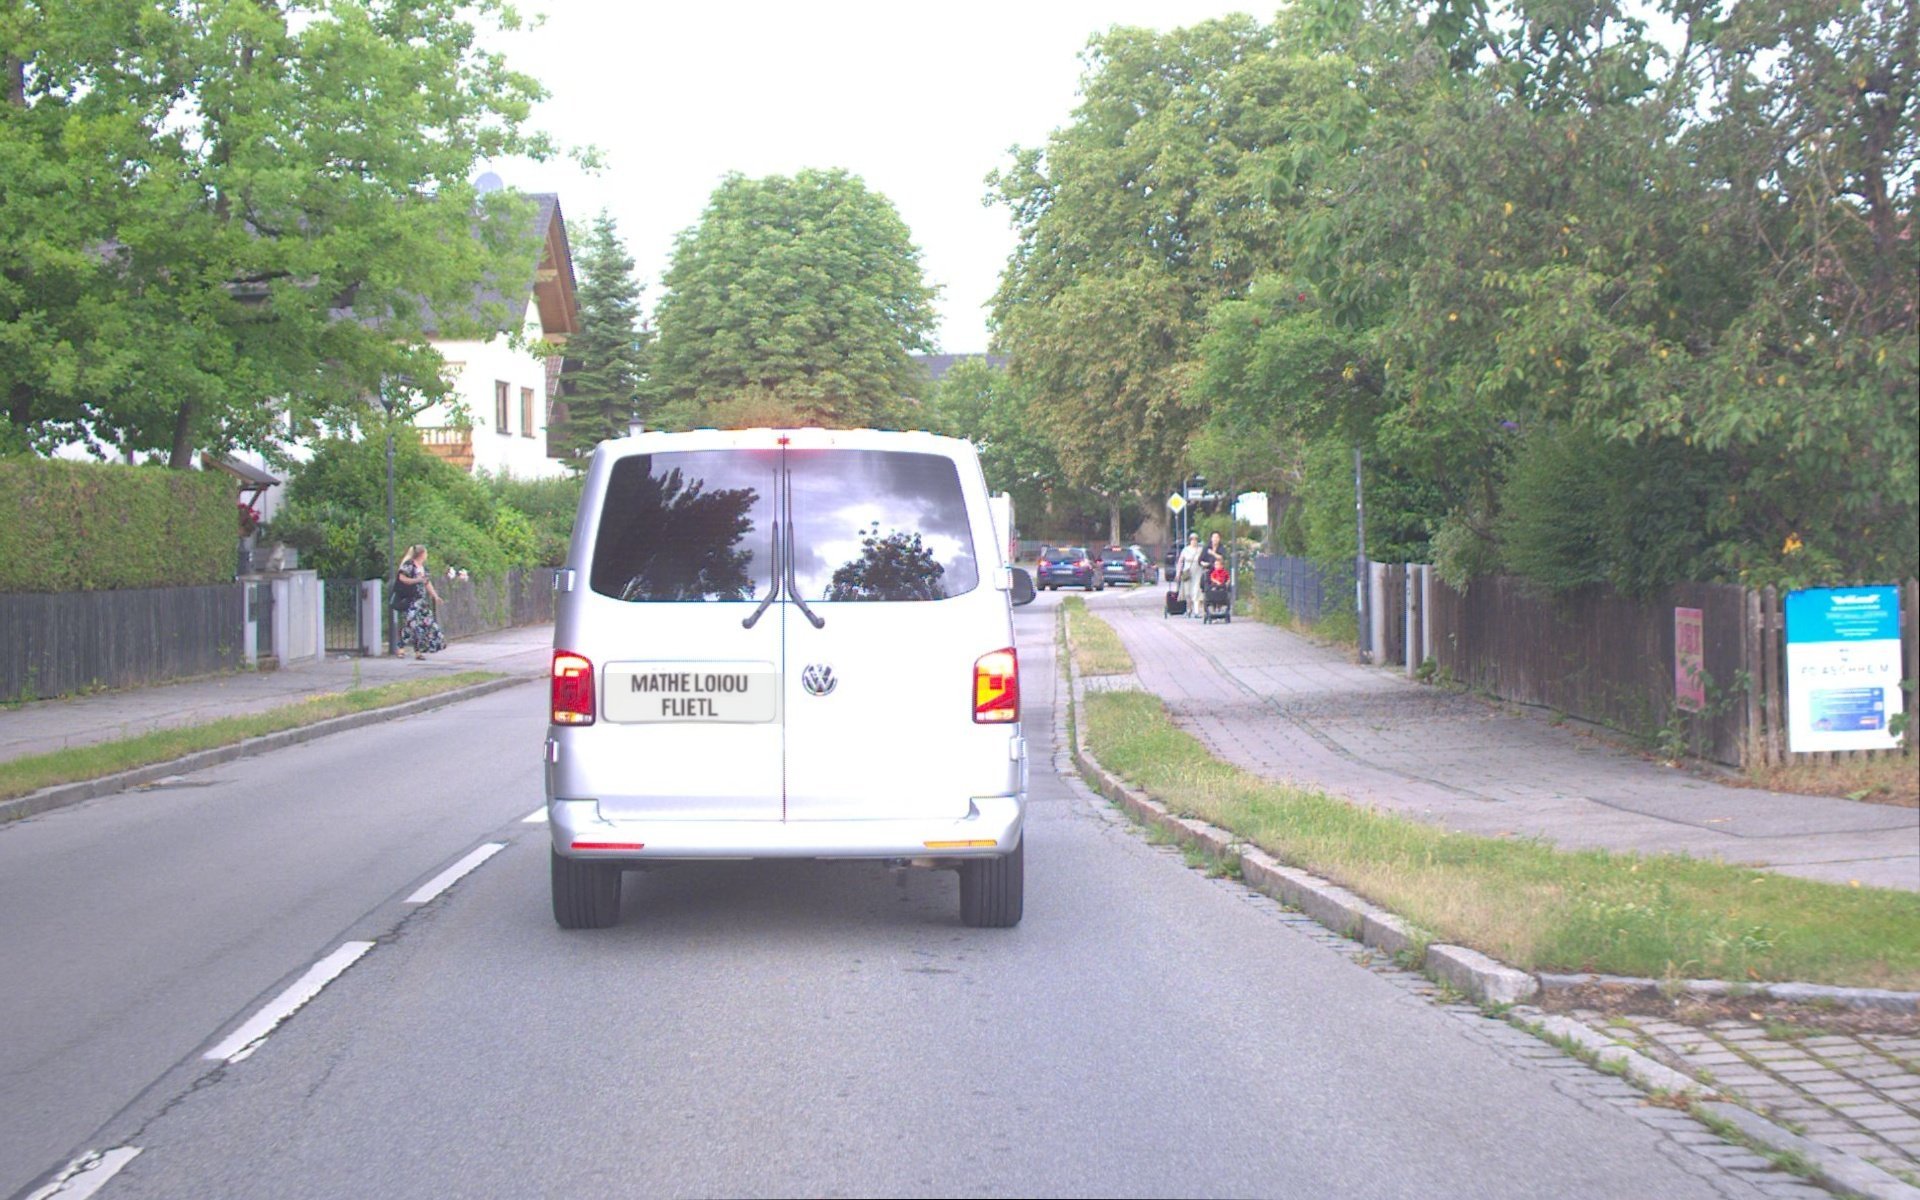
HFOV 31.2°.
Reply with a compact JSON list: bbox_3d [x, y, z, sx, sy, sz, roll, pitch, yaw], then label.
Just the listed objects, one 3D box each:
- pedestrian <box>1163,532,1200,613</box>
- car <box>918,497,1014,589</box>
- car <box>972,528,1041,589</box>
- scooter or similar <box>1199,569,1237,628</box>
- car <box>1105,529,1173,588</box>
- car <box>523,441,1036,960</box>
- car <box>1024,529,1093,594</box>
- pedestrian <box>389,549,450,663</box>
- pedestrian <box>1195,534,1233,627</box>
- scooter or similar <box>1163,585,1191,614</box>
[{"bbox_3d":[4.220,-0.520,65.411,0.622,1.518,0.579,1,0,-2],"label":"pedestrian"},{"bbox_3d":[0.157,-1.271,77.595,1.993,2.007,4.000,1,1,2],"label":"car"},{"bbox_3d":[1.622,-1.435,118.367,1.994,2.007,3.999,-1,1,6],"label":"car"},{"bbox_3d":[4.313,-0.033,57.476,0.551,0.968,0.620,1,1,-2],"label":"scooter or similar"},{"bbox_3d":[6.287,-1.468,120.539,1.994,2.007,3.999,-1,1,8],"label":"car"},{"bbox_3d":[-0.638,0.347,14.644,1.888,1.905,4.000,0,1,1],"label":"car"},{"bbox_3d":[3.186,-1.248,110.547,1.994,2.007,4.000,-1,1,4],"label":"car"},{"bbox_3d":[-7.403,0.073,47.070,0.522,1.544,0.623,1,1,41],"label":"pedestrian"},{"bbox_3d":[4.300,-0.331,58.131,0.551,1.544,0.612,1,0,-2],"label":"pedestrian"},{"bbox_3d":[4.166,-0.005,66.002,0.474,0.543,0.459,1,1,-2],"label":"scooter or similar"}]
